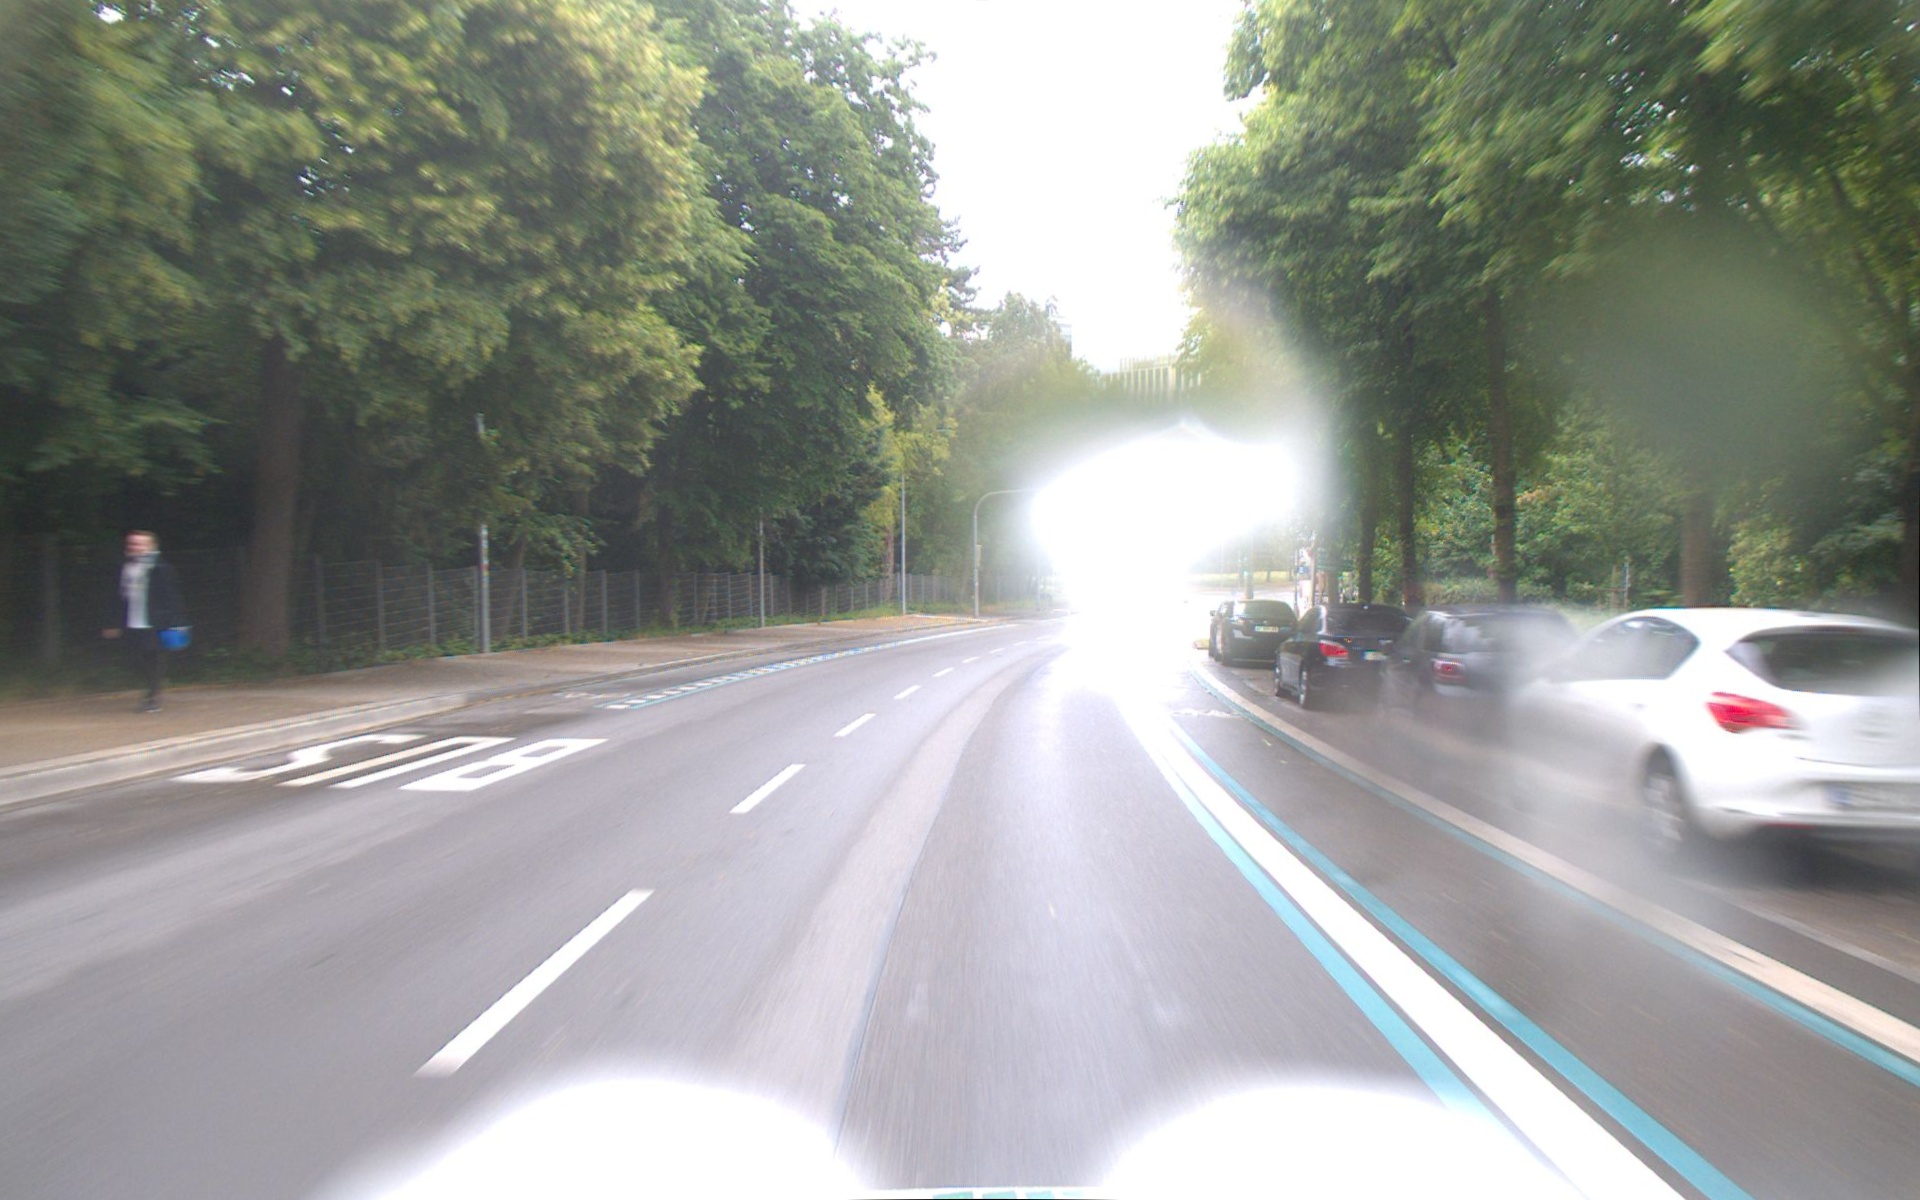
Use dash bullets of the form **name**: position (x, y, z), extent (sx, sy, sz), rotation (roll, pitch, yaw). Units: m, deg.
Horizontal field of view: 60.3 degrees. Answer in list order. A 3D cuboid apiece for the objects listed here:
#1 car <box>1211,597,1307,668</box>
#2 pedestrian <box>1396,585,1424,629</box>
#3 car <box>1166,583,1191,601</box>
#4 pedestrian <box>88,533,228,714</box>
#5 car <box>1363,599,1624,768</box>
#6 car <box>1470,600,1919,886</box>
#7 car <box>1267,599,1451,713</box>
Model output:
- **car**: position (6.768, 0.697, 37.840), extent (1.663, 1.445, 4.766), rotation (2, 0, 5)
- **pedestrian**: position (18.389, 0.284, 67.594), extent (0.868, 1.763, 1.146), rotation (1, 0, 2)
- **car**: position (19.550, -0.730, 147.984), extent (1.804, 1.482, 4.504), rotation (1, 2, 12)
- **pedestrian**: position (-8.135, 0.225, 16.827), extent (0.869, 1.763, 1.146), rotation (1, 0, -2)
- **car**: position (5.295, 0.746, 16.971), extent (1.648, 1.453, 4.321), rotation (2, 0, 6)
- **car**: position (4.914, 0.756, 10.932), extent (1.821, 1.453, 4.651), rotation (2, 0, 3)
- **car**: position (5.667, 0.728, 24.038), extent (1.744, 1.432, 4.847), rotation (2, 0, 3)
